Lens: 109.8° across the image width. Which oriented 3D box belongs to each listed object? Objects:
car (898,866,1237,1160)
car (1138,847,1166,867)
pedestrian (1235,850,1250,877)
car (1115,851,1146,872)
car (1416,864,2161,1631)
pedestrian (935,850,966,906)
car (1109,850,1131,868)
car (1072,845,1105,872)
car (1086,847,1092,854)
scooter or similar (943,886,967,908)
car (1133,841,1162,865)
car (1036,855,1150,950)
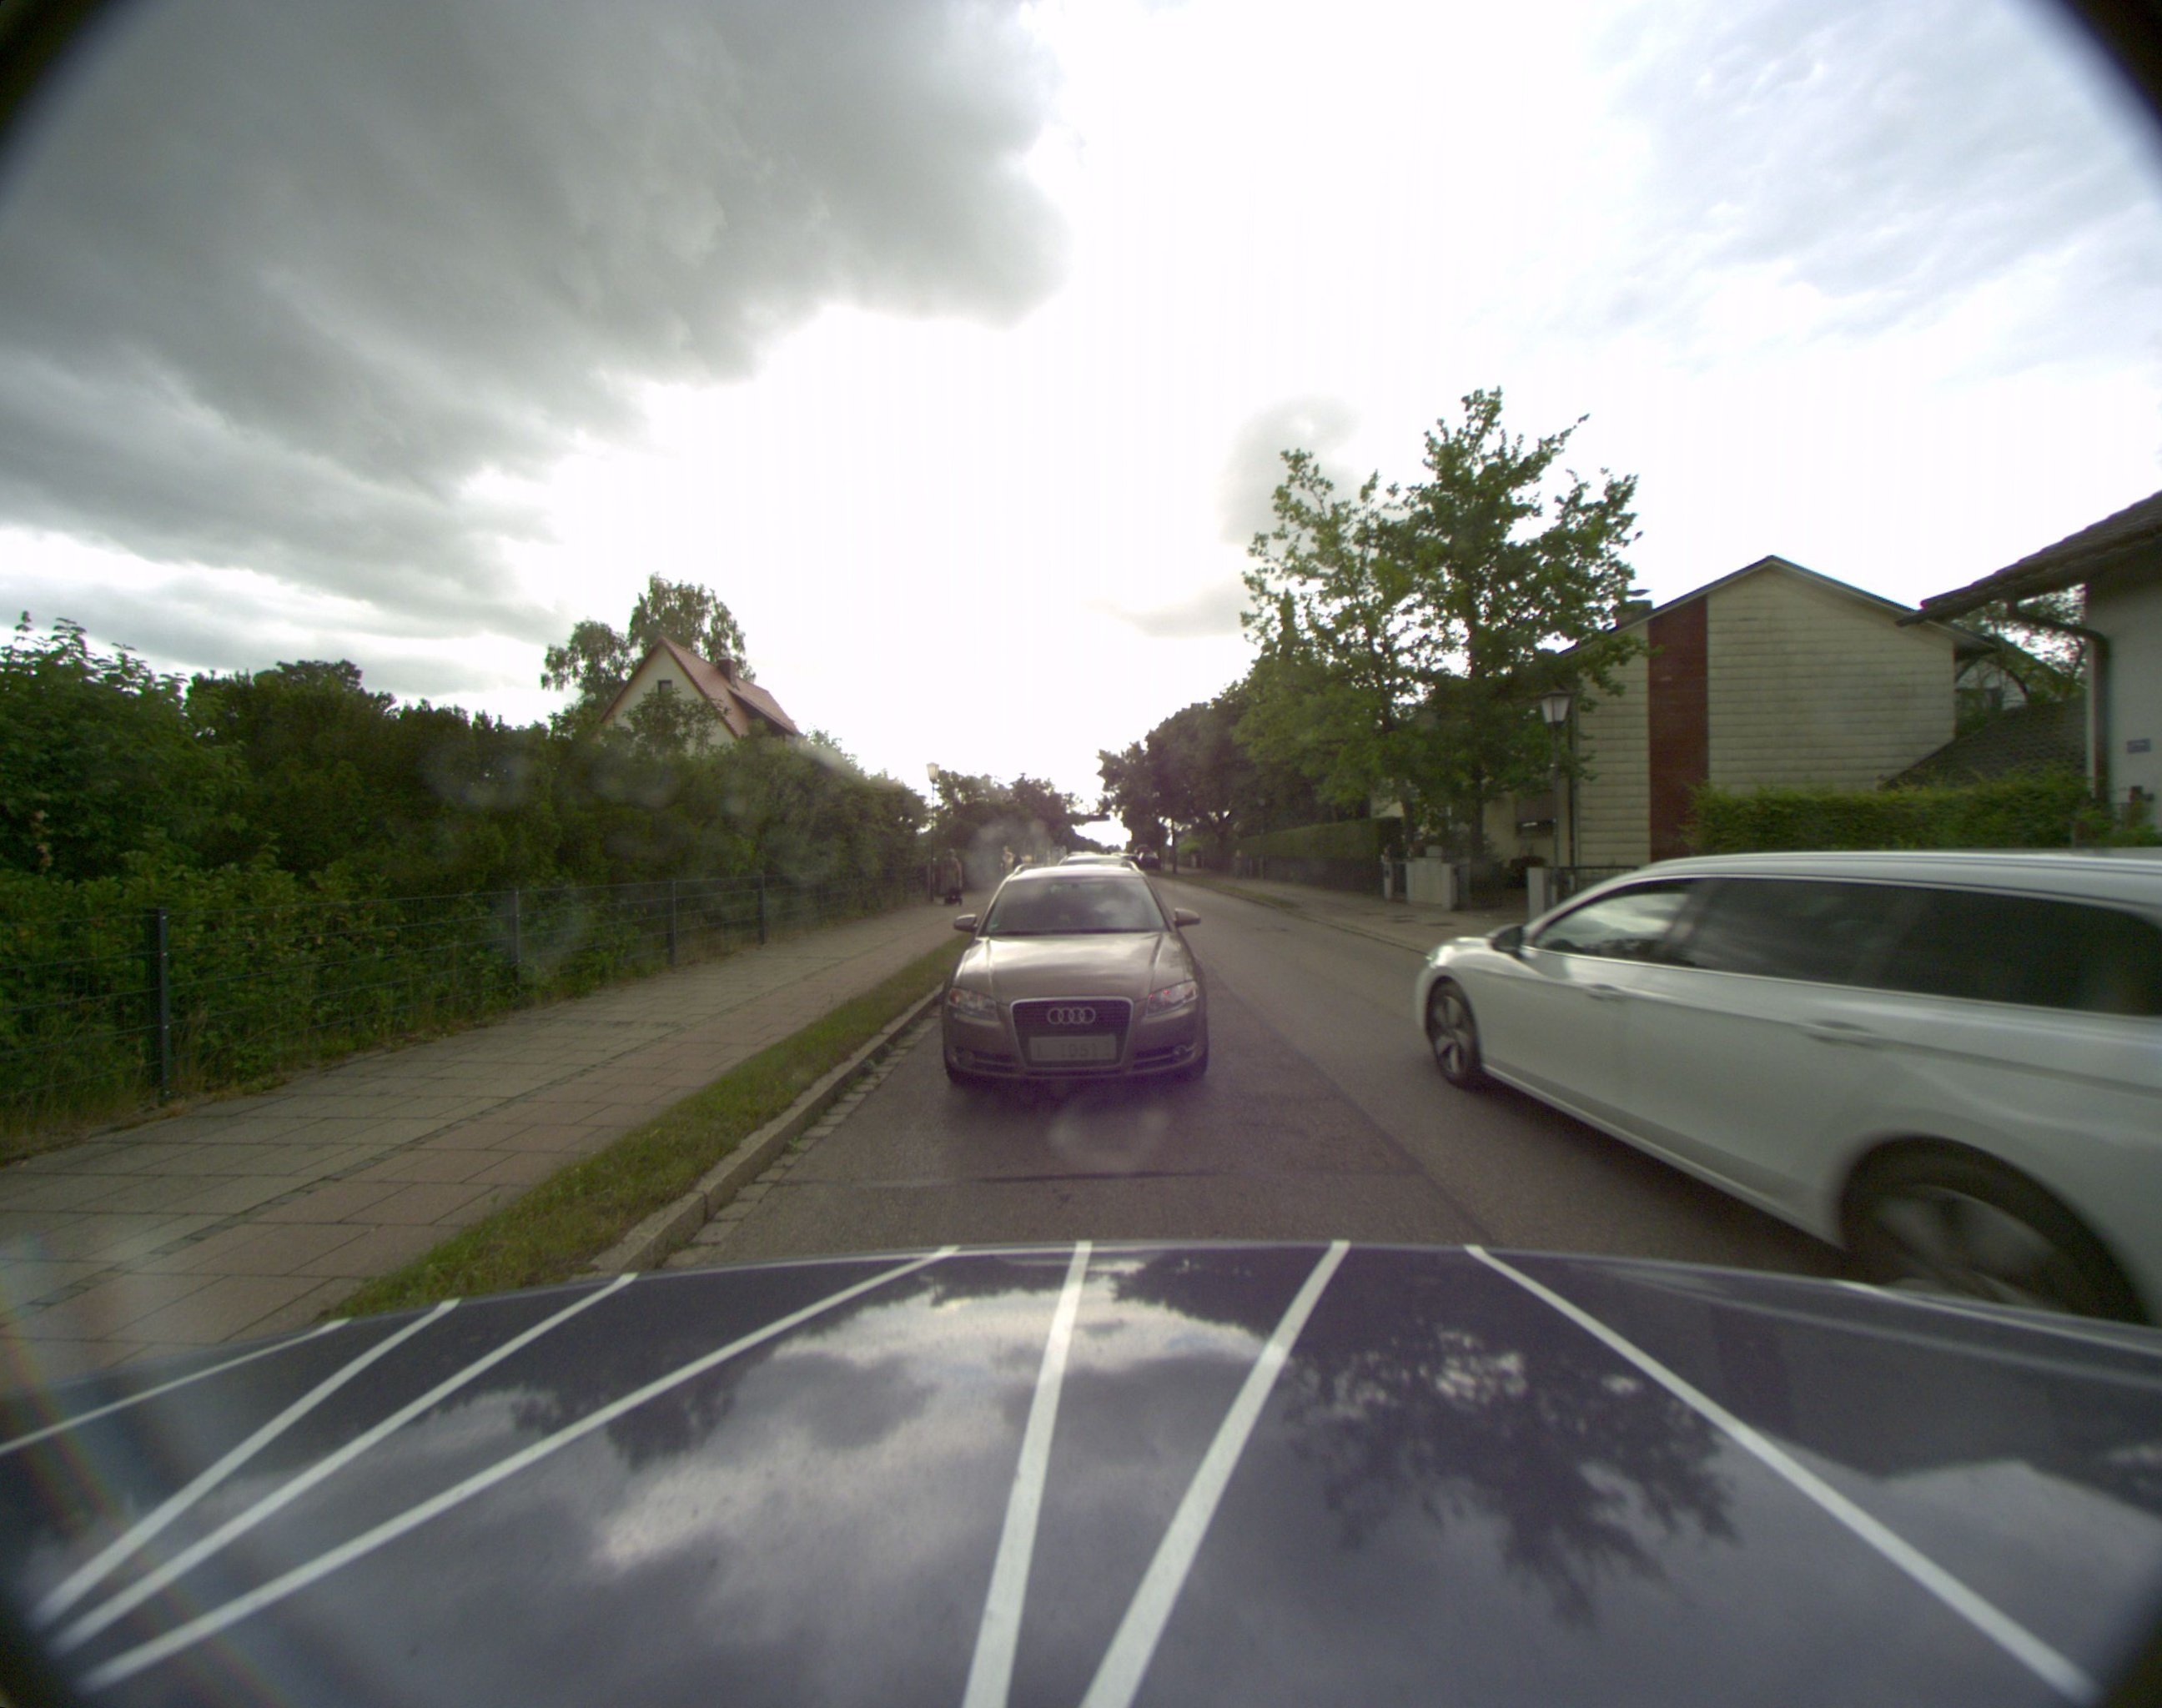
[{"bbox_3d":[-0.054,0.898,6.268,1.809,1.476,4.270,-2,0,0],"label":"car"},{"bbox_3d":[6.465,0.231,69.727,1.999,1.739,3.999,-1,0,-2],"label":"car"},{"bbox_3d":[8.609,0.513,40.472,0.631,1.429,0.563,-1,1,1],"label":"pedestrian"},{"bbox_3d":[3.481,0.504,53.987,2.029,1.361,4.000,-1,0,2],"label":"car"},{"bbox_3d":[3.083,0.829,2.827,1.756,1.475,4.375,-1,0,0],"label":"car"},{"bbox_3d":[-3.768,0.689,22.001,0.793,1.593,0.671,-1,1,-6],"label":"pedestrian"},{"bbox_3d":[3.647,0.446,71.954,1.854,1.576,4.000,-1,0,1],"label":"car"},{"bbox_3d":[0.461,0.270,46.207,1.866,1.518,4.122,-2,0,0],"label":"car"},{"bbox_3d":[2.612,-1.144,249.652,1.998,2.002,4.000,-1,0,1],"label":"car"},{"bbox_3d":[-3.543,1.215,21.389,0.618,0.553,0.741,1,0,-9],"label":"scooter or similar"},{"bbox_3d":[6.592,-0.117,75.792,2.246,2.258,4.469,-2,0,-2],"label":"car"},{"bbox_3d":[0.218,0.812,15.159,1.866,1.518,4.943,-2,0,0],"label":"car"}]
